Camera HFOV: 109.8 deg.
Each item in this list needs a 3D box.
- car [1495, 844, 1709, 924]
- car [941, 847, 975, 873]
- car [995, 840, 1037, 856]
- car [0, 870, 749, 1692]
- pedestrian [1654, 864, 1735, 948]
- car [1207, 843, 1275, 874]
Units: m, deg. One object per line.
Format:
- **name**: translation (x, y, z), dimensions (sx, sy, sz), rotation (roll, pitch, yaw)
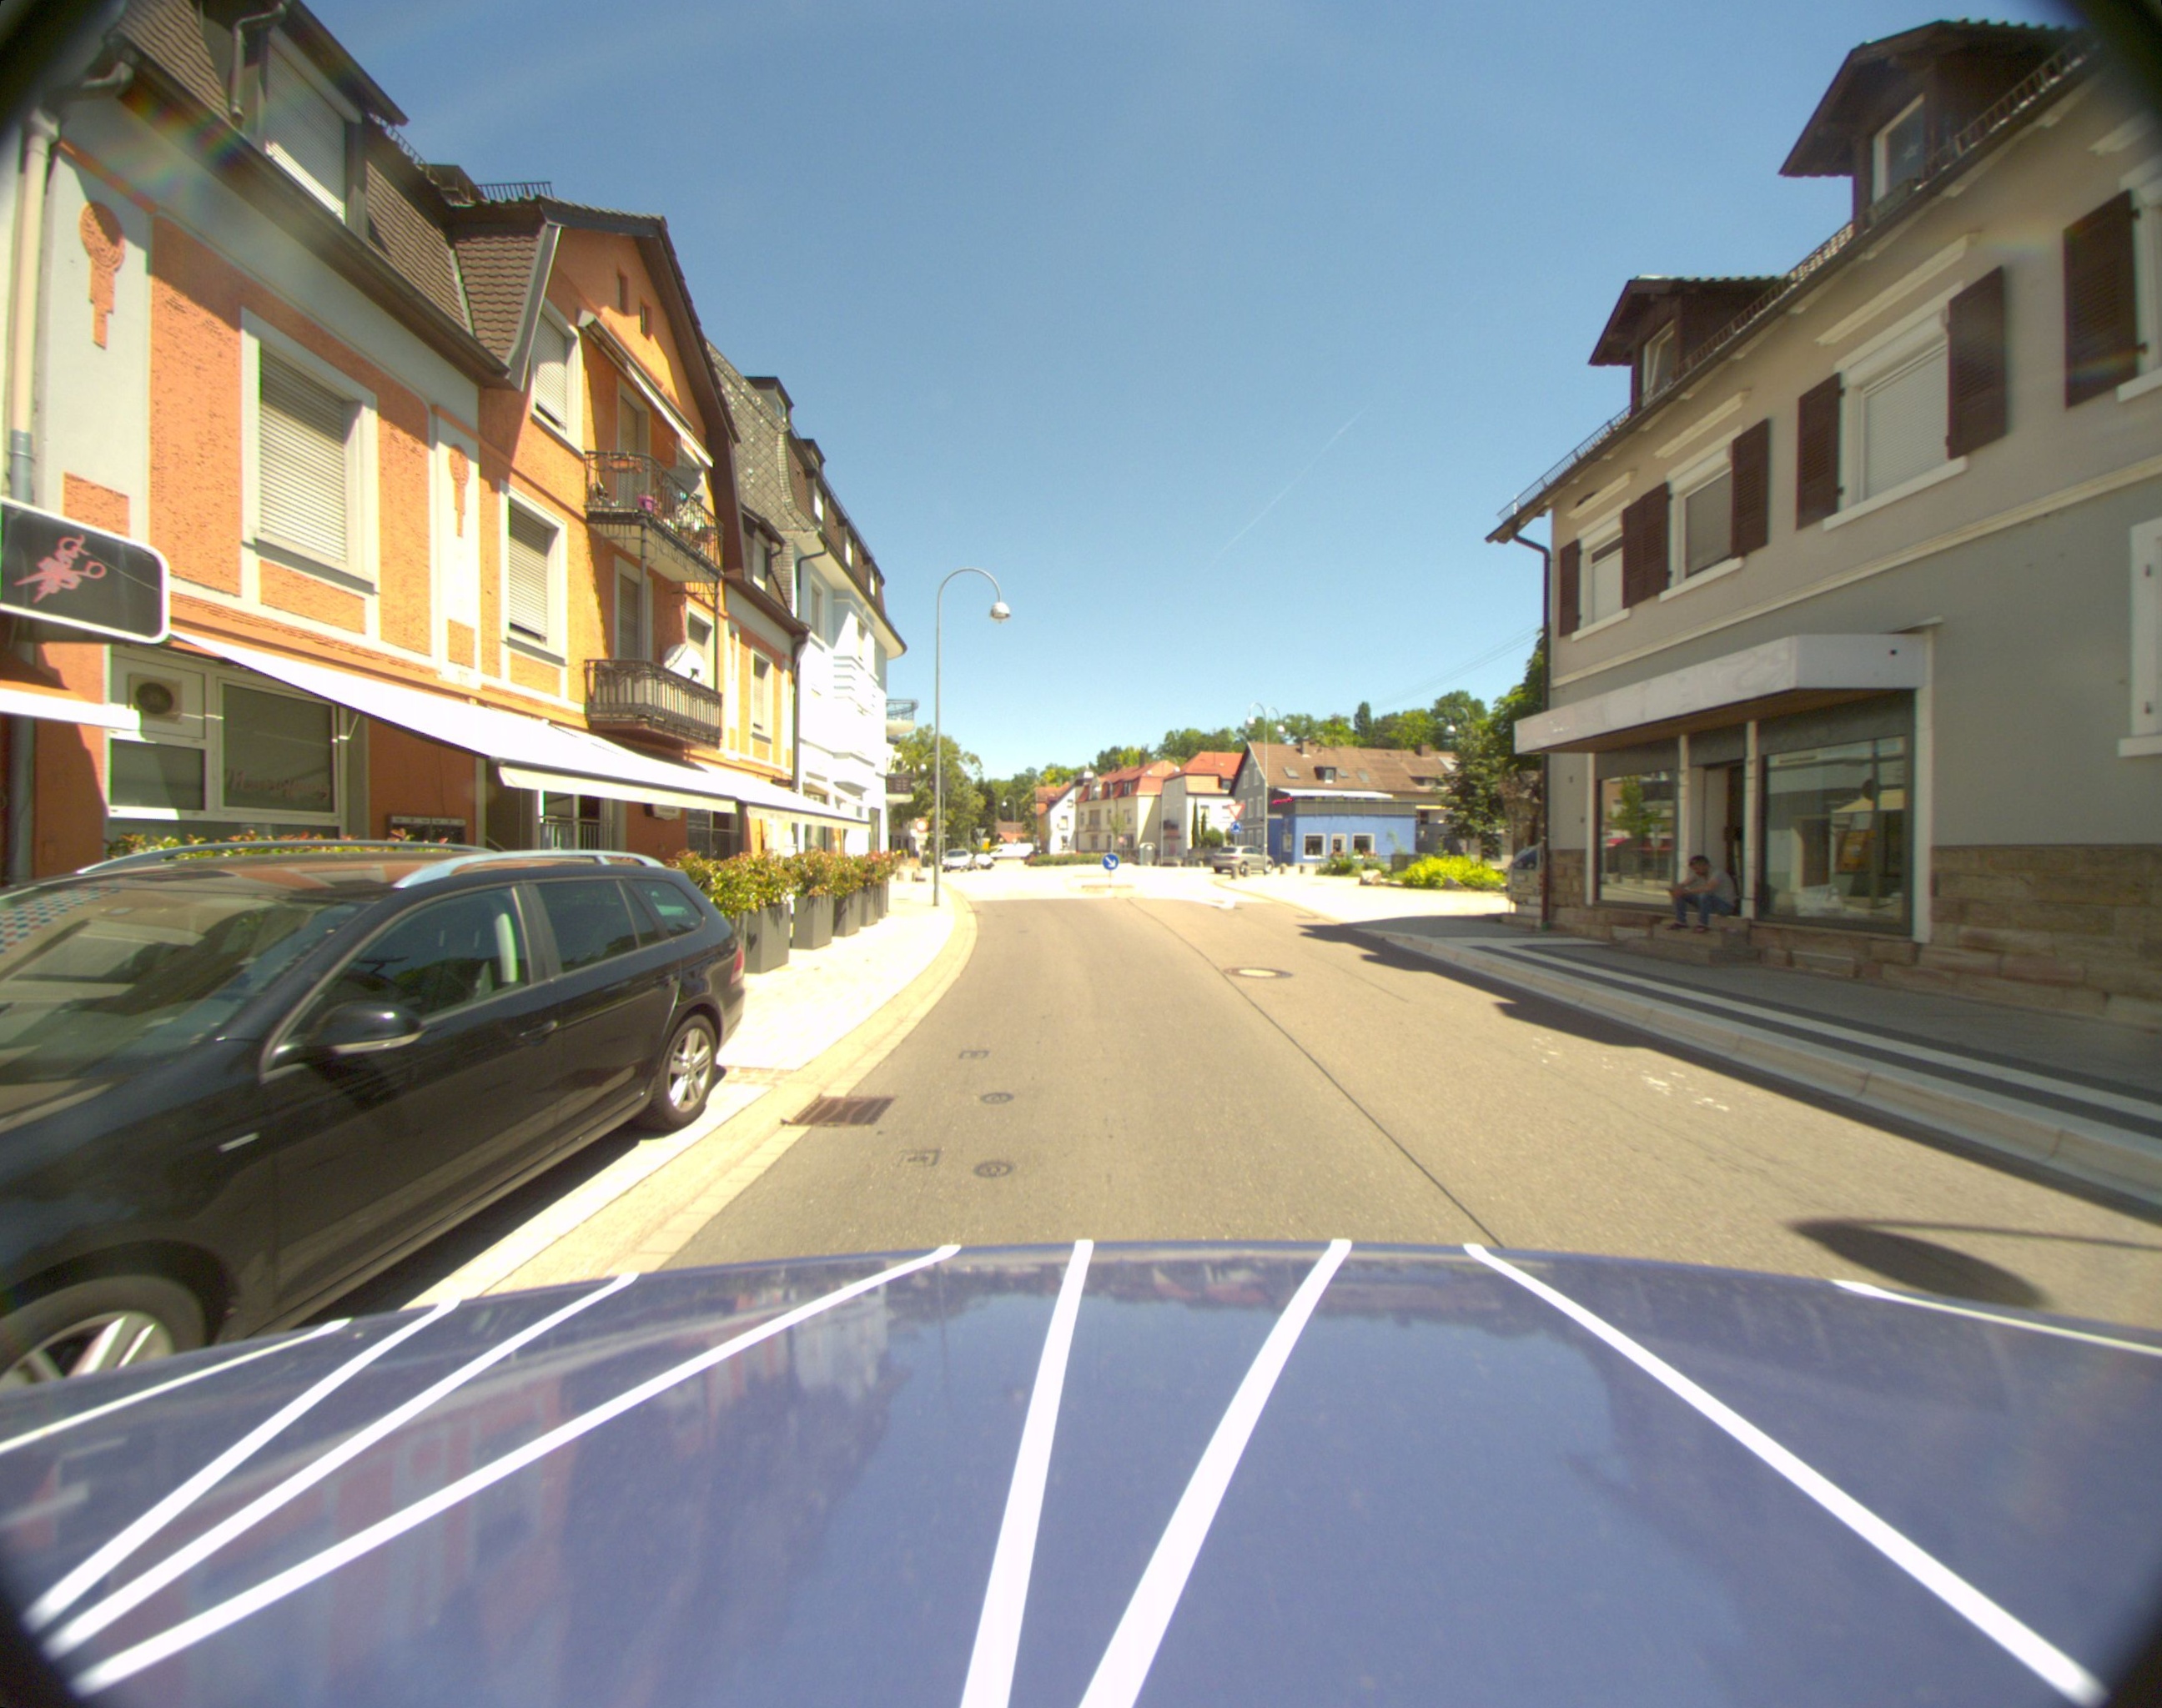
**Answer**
- **car**: translation (11.480, 0.624, 16.896), dimensions (3.721, 1.652, 1.602), rotation (-1, 1, -3)
- **car**: translation (-7.860, 0.365, 48.505), dimensions (2.000, 1.587, 4.186), rotation (-1, 1, -10)
- **car**: translation (-10.271, -0.919, 120.114), dimensions (6.363, 2.447, 2.306), rotation (-1, 1, -8)
- **car**: translation (-2.968, 0.873, 2.642), dimensions (1.734, 1.464, 4.323), rotation (1, 1, 0)
- **pedestrian**: translation (8.007, 0.661, 9.934), dimensions (0.598, 1.053, 0.567), rotation (-1, 1, -2)
- **car**: translation (8.967, 0.218, 42.385), dimensions (1.811, 1.599, 3.925), rotation (4, 3, 45)
